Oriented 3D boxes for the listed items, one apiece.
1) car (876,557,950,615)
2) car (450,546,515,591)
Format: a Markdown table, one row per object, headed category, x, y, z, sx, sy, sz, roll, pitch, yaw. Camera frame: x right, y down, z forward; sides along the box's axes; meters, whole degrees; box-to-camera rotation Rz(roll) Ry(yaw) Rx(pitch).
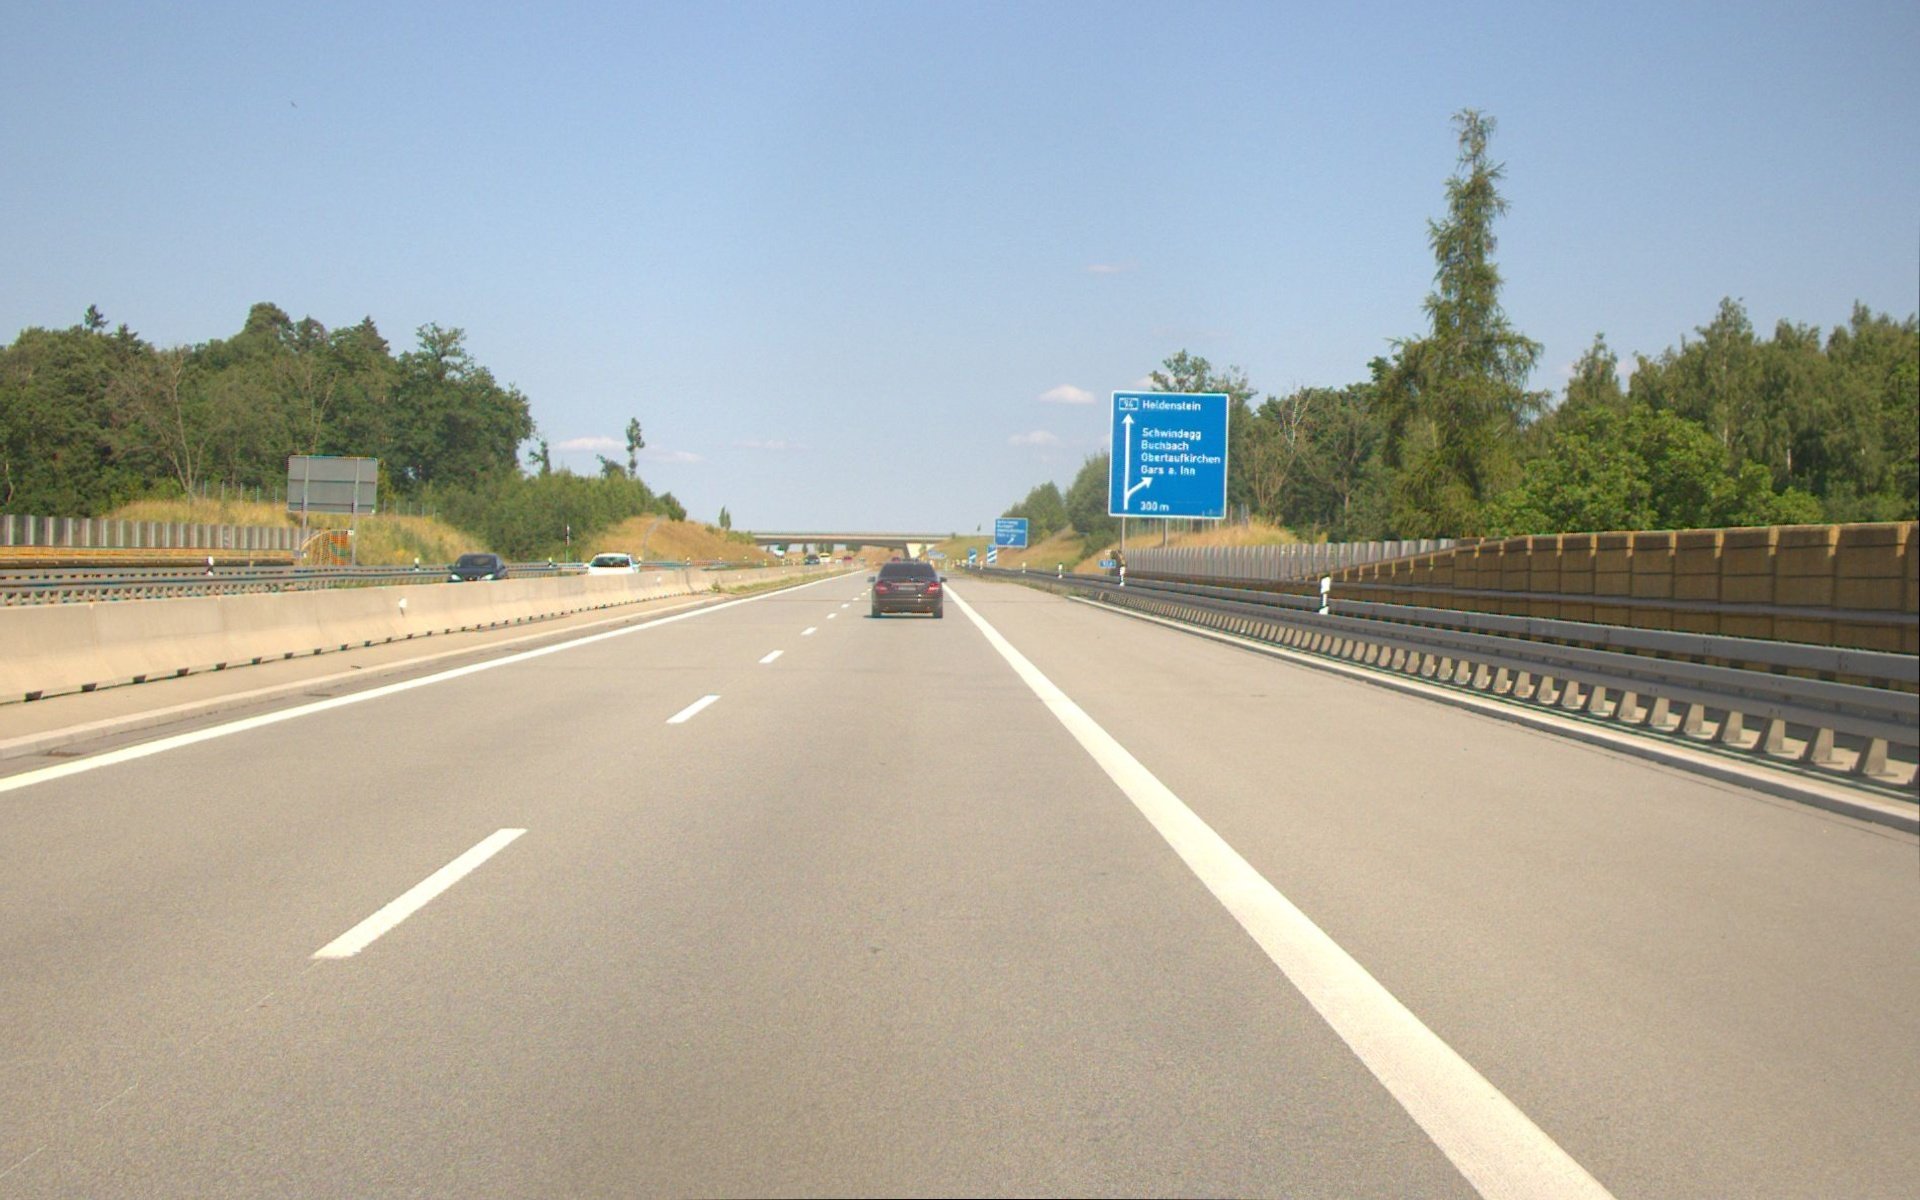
| category | x | y | z | sx | sy | sz | roll | pitch | yaw |
| --- | --- | --- | --- | --- | --- | --- | --- | --- | --- |
| car | -1.160 | -0.358 | 85.590 | 1.790 | 1.369 | 3.917 | 1 | 1 | 0 |
| car | -15.806 | -1.046 | 113.911 | 1.579 | 1.453 | 4.450 | 1 | 1 | -1 |
